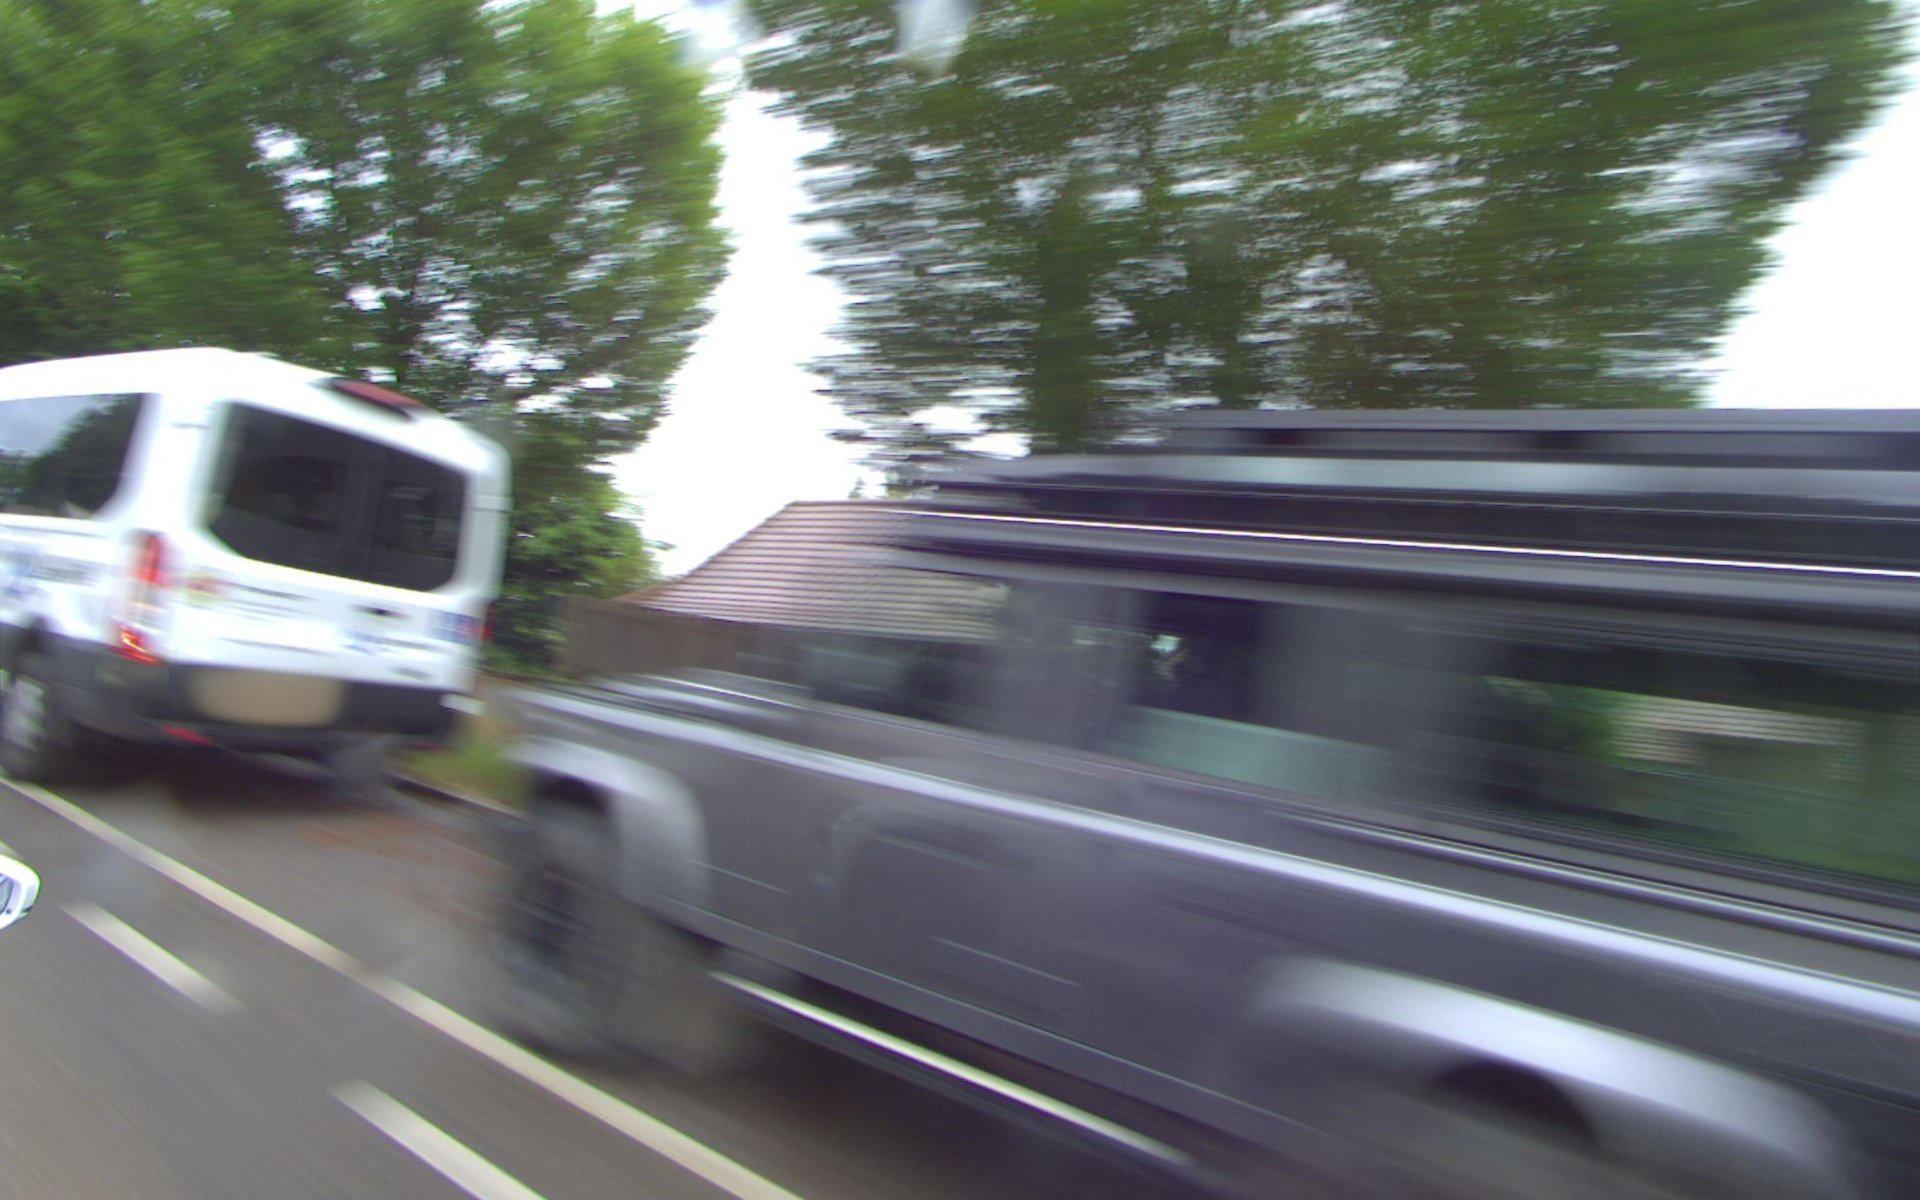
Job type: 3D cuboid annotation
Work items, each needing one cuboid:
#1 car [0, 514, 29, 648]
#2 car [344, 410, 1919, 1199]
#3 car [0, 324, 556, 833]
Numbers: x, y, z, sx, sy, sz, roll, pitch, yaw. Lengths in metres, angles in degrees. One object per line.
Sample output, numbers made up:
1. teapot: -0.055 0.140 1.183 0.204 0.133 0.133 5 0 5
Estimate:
1. car: -12.172 -0.503 10.940 4.152 1.473 1.679 7 -5 30
2. car: 0.498 0.703 3.355 5.035 2.074 1.999 7 -3 30
3. car: -5.998 -0.288 7.385 5.932 2.519 2.181 7 -4 31
